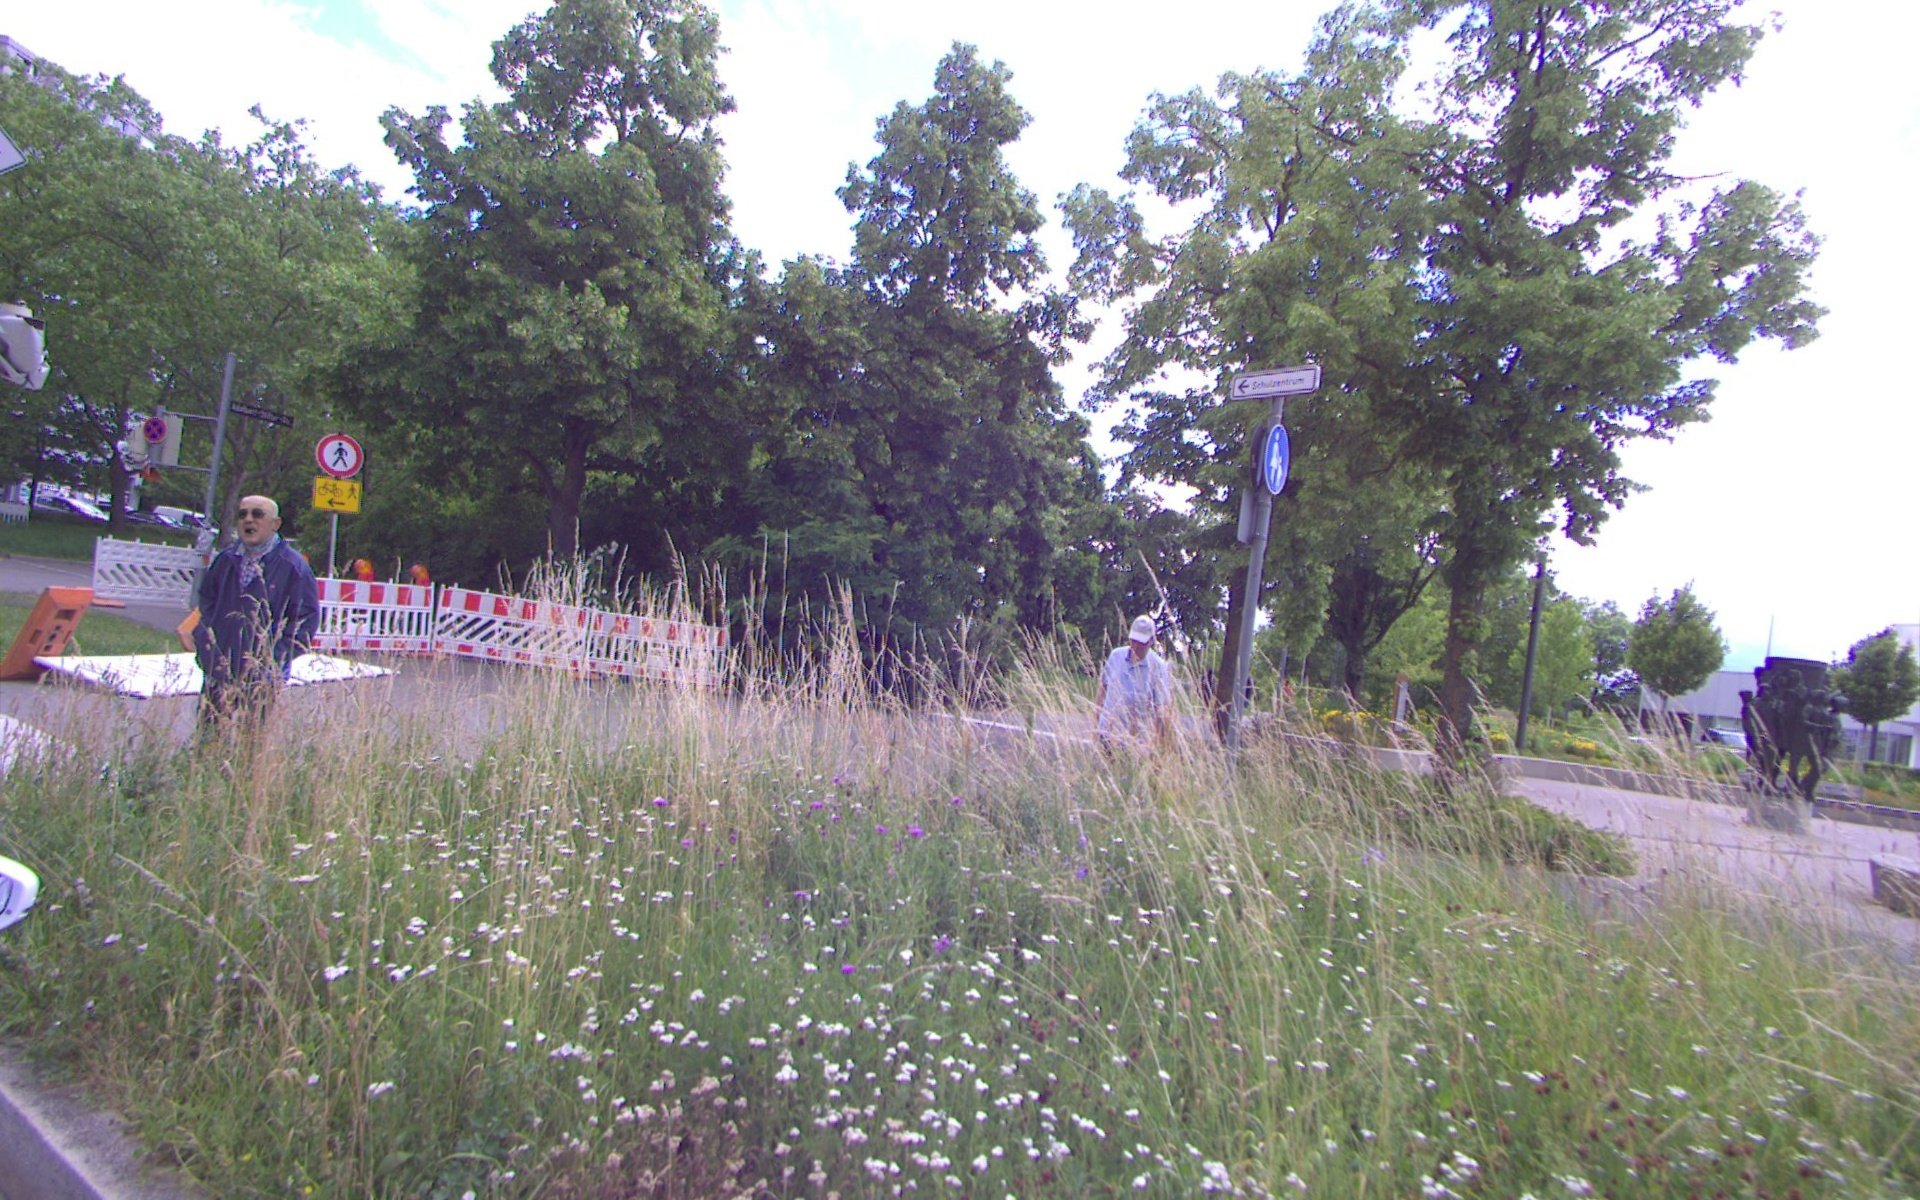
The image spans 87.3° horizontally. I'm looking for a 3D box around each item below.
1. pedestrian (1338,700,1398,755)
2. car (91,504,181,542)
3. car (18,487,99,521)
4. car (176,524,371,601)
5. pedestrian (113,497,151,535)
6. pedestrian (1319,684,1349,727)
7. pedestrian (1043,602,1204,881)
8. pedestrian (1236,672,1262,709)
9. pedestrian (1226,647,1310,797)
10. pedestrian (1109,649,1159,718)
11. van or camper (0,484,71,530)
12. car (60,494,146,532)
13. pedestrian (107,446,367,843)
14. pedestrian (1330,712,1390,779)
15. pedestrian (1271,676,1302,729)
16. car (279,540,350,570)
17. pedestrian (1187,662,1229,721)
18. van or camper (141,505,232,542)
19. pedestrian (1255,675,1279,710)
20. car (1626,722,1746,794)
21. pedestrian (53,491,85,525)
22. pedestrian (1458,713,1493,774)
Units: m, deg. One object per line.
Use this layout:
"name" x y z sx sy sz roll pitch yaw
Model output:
"pedestrian" 8.218 2.561 20.279 0.703 0.959 0.747 8 -1 -20
"car" -42.960 -4.011 52.474 3.345 1.420 1.486 7 -2 2
"car" -53.624 -5.707 59.885 3.345 1.420 1.486 7 -2 1
"car" -20.527 -1.086 30.260 1.744 1.604 4.405 6 -3 33
"pedestrian" -47.339 -4.809 57.524 1.039 1.892 1.077 7 -1 12
"pedestrian" 15.657 4.413 42.139 0.974 1.671 0.871 7 -1 21
"pedestrian" 1.185 0.980 7.232 0.716 1.812 0.692 7 0 32
"pedestrian" 14.268 4.477 49.661 0.974 1.671 0.871 7 -1 21
"pedestrian" 3.815 1.491 12.450 0.685 1.715 0.651 7 0 29
"pedestrian" 4.623 2.220 26.744 0.974 1.671 0.871 7 -1 21
"van or camper" -43.504 -4.397 46.034 3.925 1.704 1.847 8 -1 4
"car" -53.639 -5.433 63.017 3.751 1.653 1.675 9 -2 2
"pedestrian" -3.570 0.221 5.075 0.719 1.760 0.950 8 -1 -26
"pedestrian" 6.020 2.170 15.126 0.685 0.874 0.651 7 -1 29
"pedestrian" 10.089 3.167 31.067 0.624 1.519 0.704 7 -1 29
"car" -44.393 -3.085 69.233 3.674 1.517 1.736 7 -2 5
"pedestrian" 7.668 2.817 31.099 0.974 1.671 0.871 7 -1 21
"van or camper" -42.967 -4.243 55.949 3.706 1.372 1.519 7 -2 -1
"pedestrian" 16.175 4.873 52.960 0.974 1.671 0.871 7 -1 21
"car" 23.617 5.096 32.882 1.606 1.786 3.510 7 -2 9
"pedestrian" -45.304 -4.675 51.151 0.785 1.604 0.796 6 -1 24
"pedestrian" 11.588 3.218 22.616 0.560 1.277 0.582 6 -1 29
